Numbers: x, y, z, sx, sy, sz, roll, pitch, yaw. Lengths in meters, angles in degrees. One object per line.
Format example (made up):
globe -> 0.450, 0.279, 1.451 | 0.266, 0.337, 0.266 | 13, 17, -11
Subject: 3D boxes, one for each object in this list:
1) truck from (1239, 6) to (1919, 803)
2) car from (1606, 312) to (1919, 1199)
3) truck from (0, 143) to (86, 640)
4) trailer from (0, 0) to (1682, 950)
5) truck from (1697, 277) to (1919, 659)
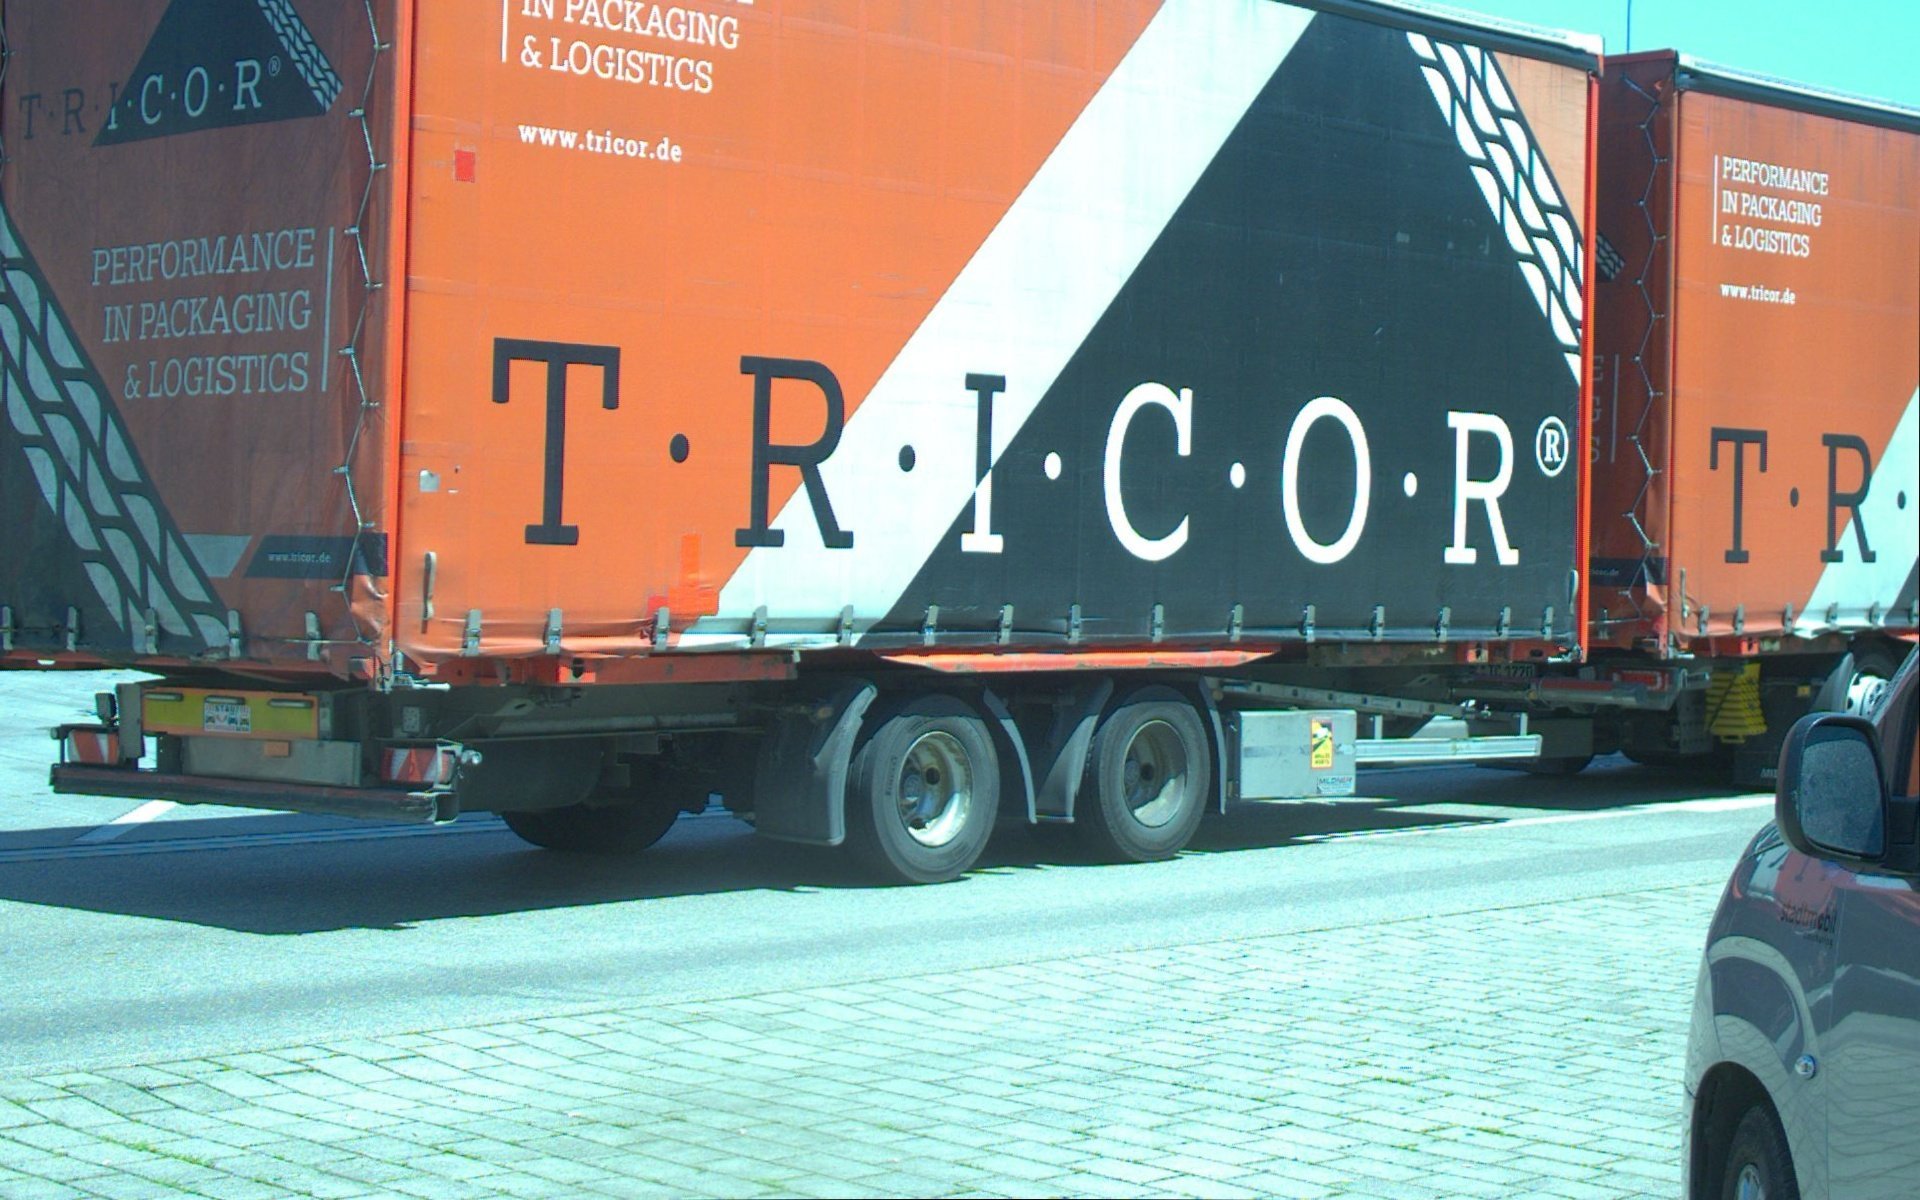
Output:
truck -> 6.194, -1.120, 22.556 | 2.692, 4.113, 10.579 | 2, 2, 43
car -> 2.135, 0.543, 3.792 | 1.825, 1.747, 4.001 | 1, 2, -4
truck -> -9.233, -1.698, 27.654 | 2.743, 4.067, 6.830 | 1, 2, -1
trailer -> -0.245, -1.057, 15.556 | 2.841, 4.243, 8.664 | 2, 2, 42
truck -> 11.728, -1.466, 39.805 | 2.904, 4.110, 14.528 | 3, 2, -1
